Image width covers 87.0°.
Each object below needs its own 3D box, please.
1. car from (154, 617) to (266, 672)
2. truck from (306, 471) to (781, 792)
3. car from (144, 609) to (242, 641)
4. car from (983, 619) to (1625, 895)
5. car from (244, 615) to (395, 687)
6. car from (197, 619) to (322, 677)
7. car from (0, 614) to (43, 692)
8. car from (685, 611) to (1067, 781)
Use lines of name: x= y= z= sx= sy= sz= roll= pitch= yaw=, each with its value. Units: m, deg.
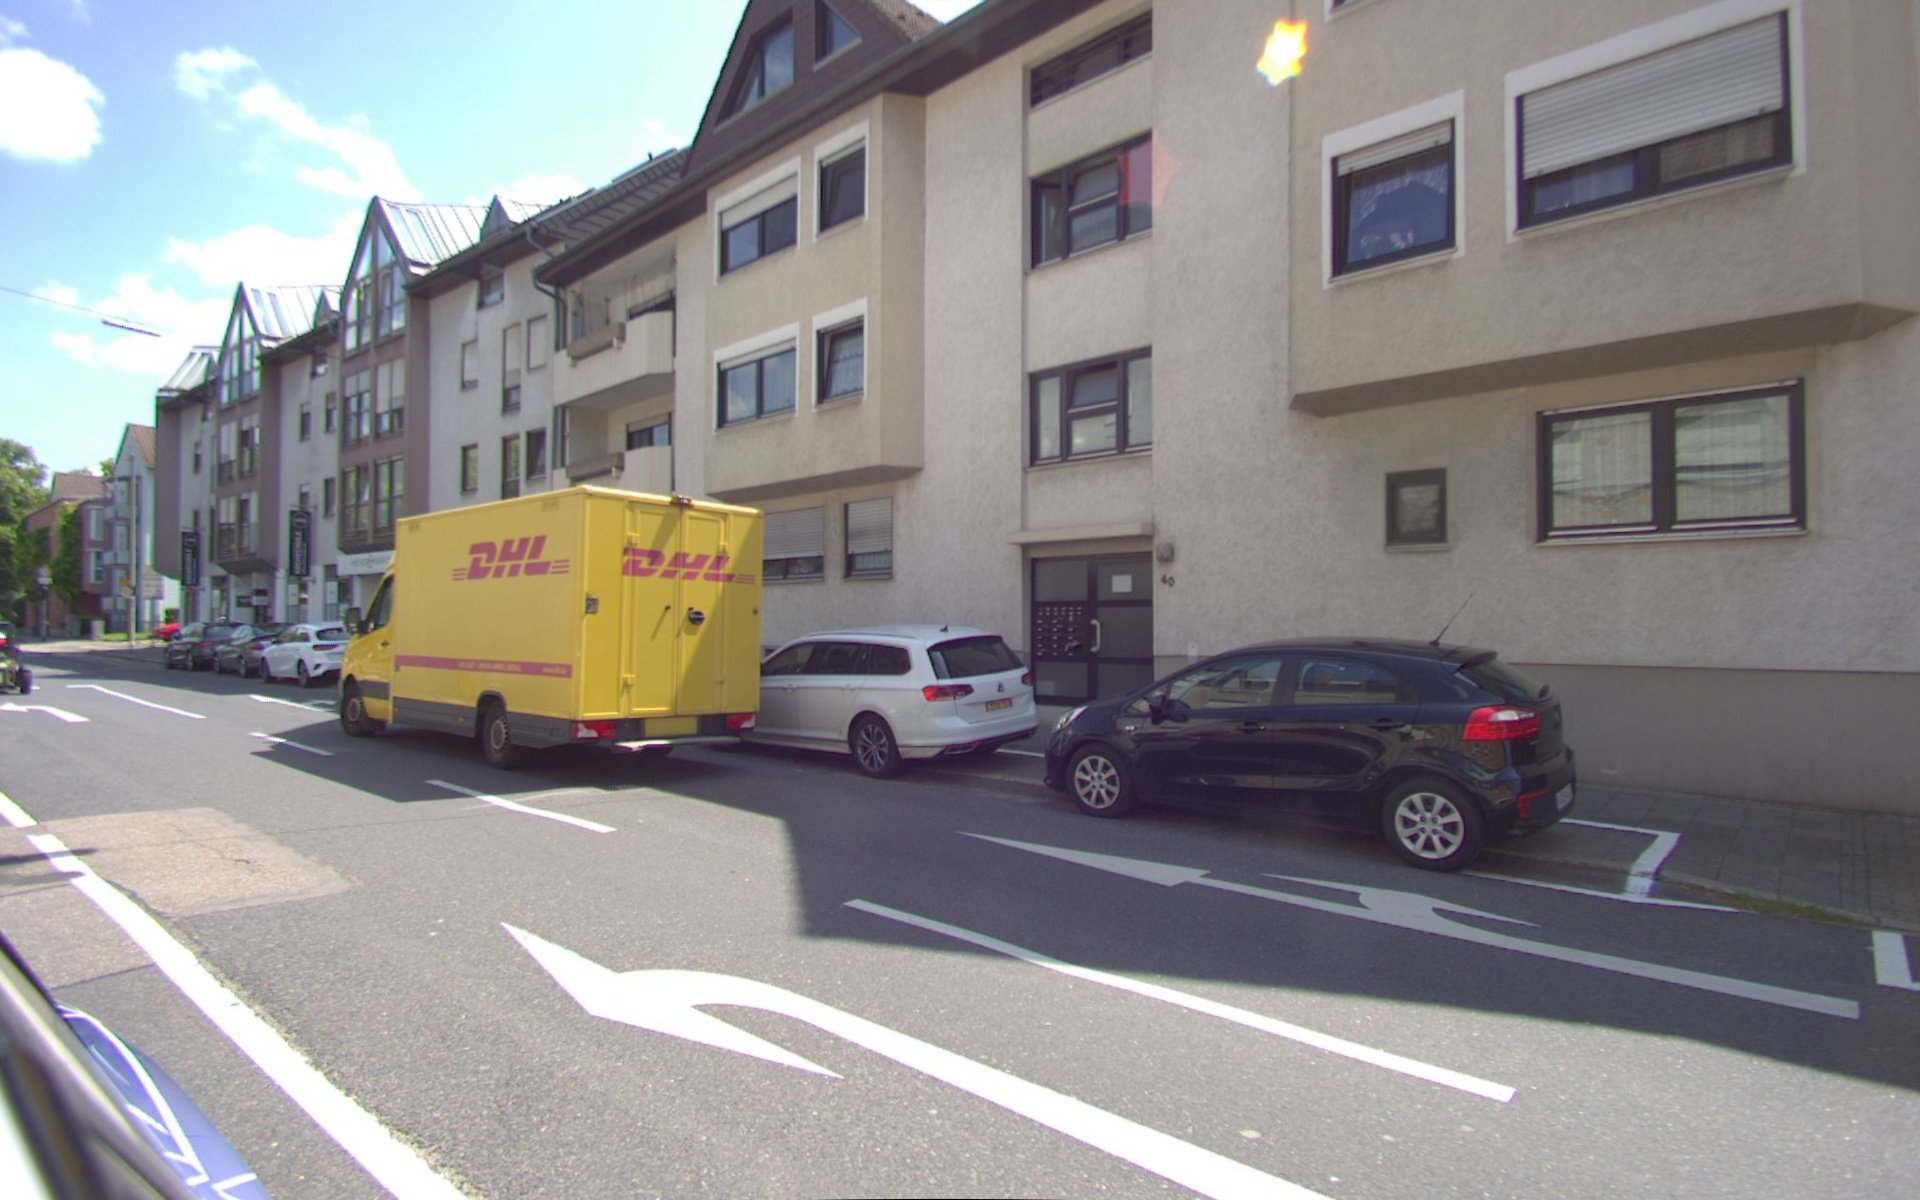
car: x=-23.258 y=1.300 z=31.312 sx=4.967 sy=1.458 sz=1.820 roll=0 pitch=1 yaw=42
truck: x=-5.405 y=0.343 z=12.168 sx=7.562 sy=2.792 sz=2.201 roll=-1 pitch=-3 yaw=42
car: x=-42.216 y=1.359 z=55.735 sx=1.731 sy=1.462 sz=3.949 roll=-3 pitch=1 yaw=39
car: x=2.507 y=0.959 z=8.082 sx=4.499 sy=1.499 sz=1.821 roll=0 pitch=1 yaw=41
car: x=-15.568 y=1.164 z=24.506 sx=4.383 sy=1.500 sz=1.821 roll=0 pitch=1 yaw=40
car: x=-19.478 y=1.267 z=28.075 sx=4.325 sy=1.394 sz=1.821 roll=0 pitch=1 yaw=41
car: x=-19.270 y=1.017 z=19.776 sx=2.717 sy=1.470 sz=1.483 roll=-1 pitch=-1 yaw=36
car: x=-1.102 y=0.913 z=11.540 sx=4.385 sy=1.499 sz=1.820 roll=0 pitch=1 yaw=42
